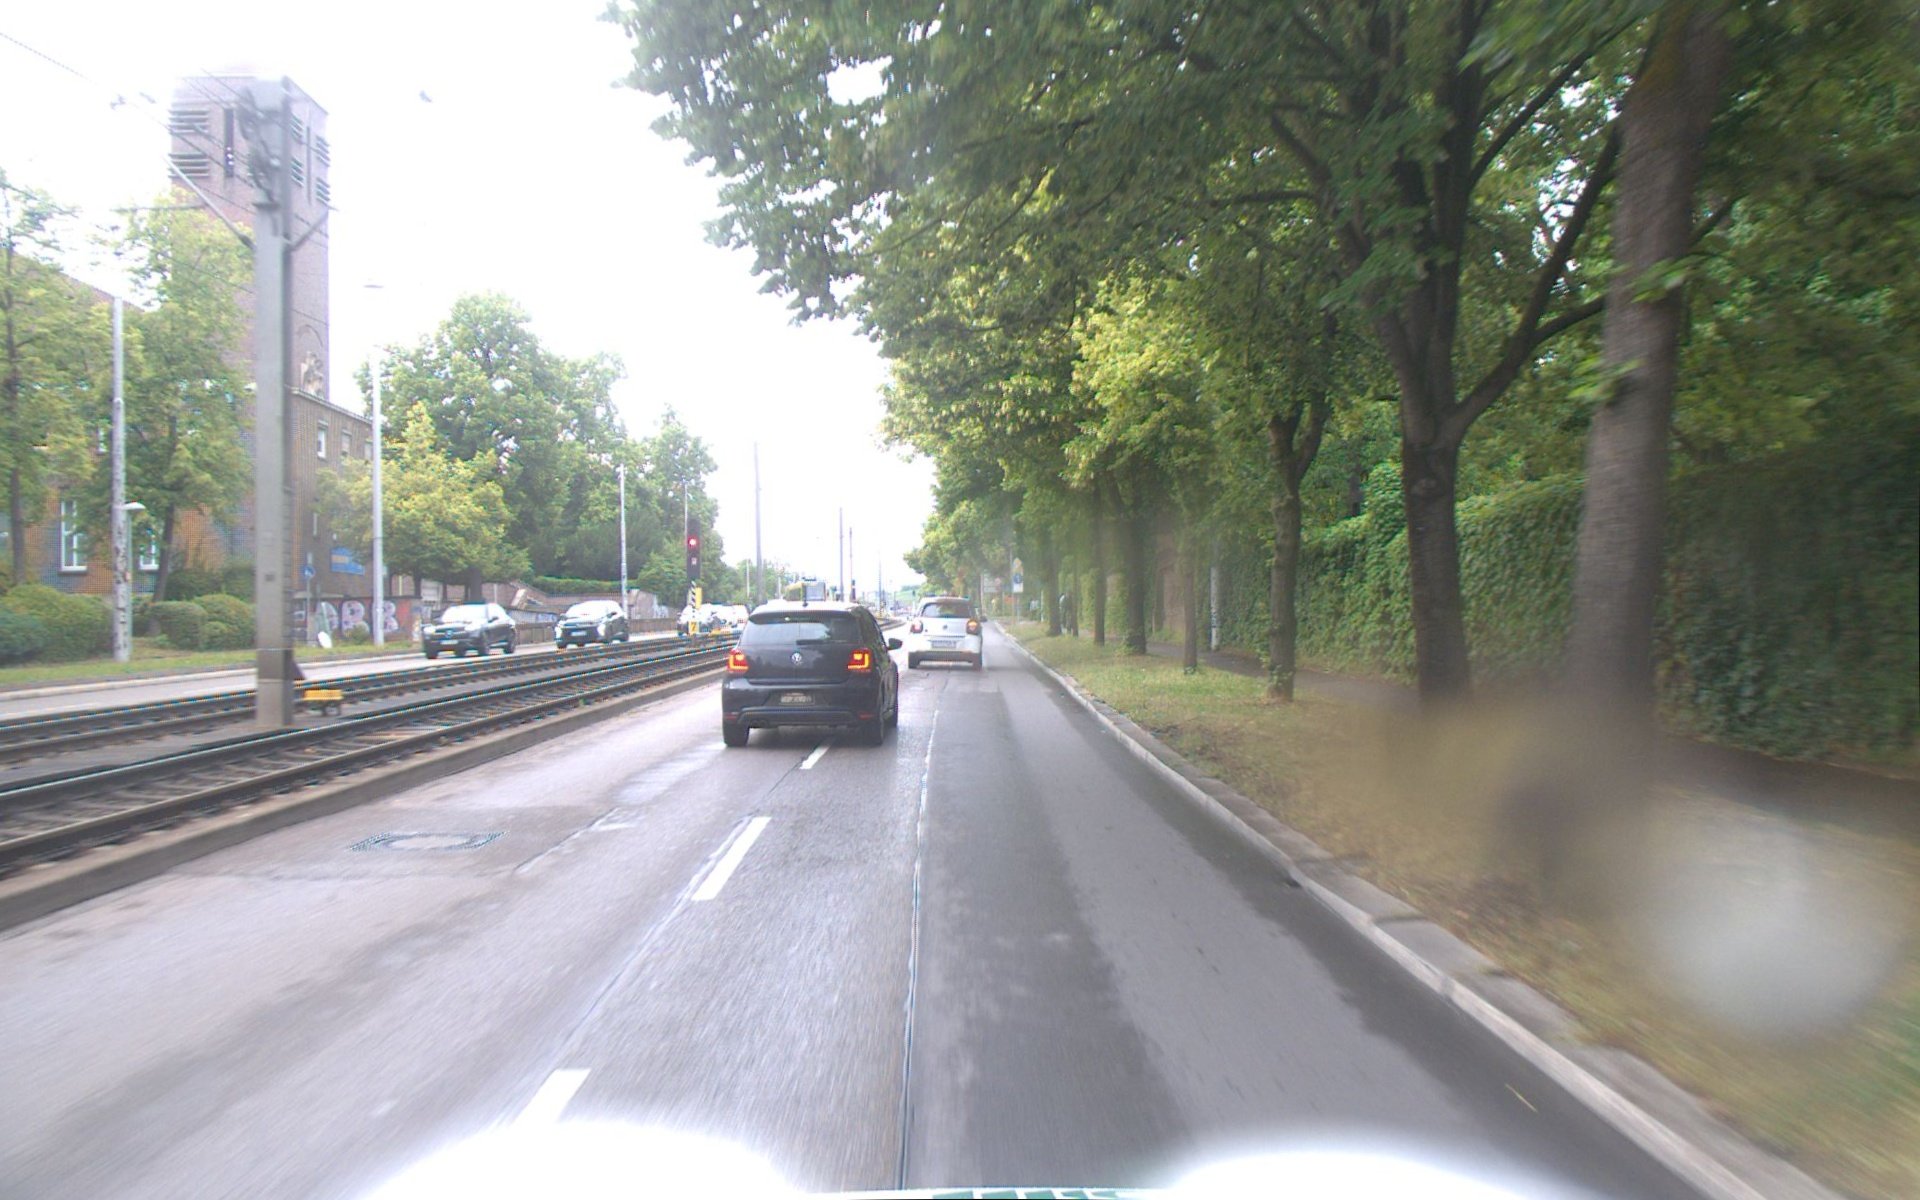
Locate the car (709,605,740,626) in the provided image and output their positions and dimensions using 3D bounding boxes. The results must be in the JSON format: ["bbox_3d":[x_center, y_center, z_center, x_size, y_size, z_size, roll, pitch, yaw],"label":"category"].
[{"bbox_3d":[-16.625,1.085,116.924,1.583,1.459,4.000,0,0,0],"label":"car"}]

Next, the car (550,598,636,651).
[{"bbox_3d":[-12.355,0.791,55.924,1.796,1.685,4.241,-1,0,2],"label":"car"}]

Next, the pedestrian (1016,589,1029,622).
[{"bbox_3d":[5.678,0.515,150.503,1.140,3.029,0.948,0,0,-1],"label":"pedestrian"}]

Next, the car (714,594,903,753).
[{"bbox_3d":[-1.537,0.707,18.073,1.757,1.511,3.964,1,0,-1],"label":"car"}]

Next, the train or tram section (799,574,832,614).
[{"bbox_3d":[-13.746,-0.591,157.994,2.775,3.668,9.265,0,0,-3],"label":"train or tram section"}]

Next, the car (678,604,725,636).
[{"bbox_3d":[-12.536,0.969,80.356,1.646,1.487,3.608,-1,0,1],"label":"car"}]

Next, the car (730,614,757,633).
[{"bbox_3d":[-17.408,1.873,133.193,1.693,1.469,4.000,0,0,0],"label":"car"}]

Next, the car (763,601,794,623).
[{"bbox_3d":[-14.409,0.917,131.685,1.953,1.691,5.126,0,0,0],"label":"car"}]

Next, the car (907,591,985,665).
[{"bbox_3d":[-0.285,0.592,37.317,1.641,1.557,3.721,1,0,0],"label":"car"}]

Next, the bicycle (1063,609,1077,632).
[{"bbox_3d":[4.546,0.847,68.491,0.399,0.918,2.099,-1,0,0],"label":"bicycle"}]

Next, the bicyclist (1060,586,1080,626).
[{"bbox_3d":[4.545,0.247,68.495,0.747,1.644,0.998,-1,0,0],"label":"bicyclist"}]

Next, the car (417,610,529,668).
[{"bbox_3d":[-15.279,1.190,52.167,1.971,1.685,4.618,-1,0,2],"label":"car"}]
